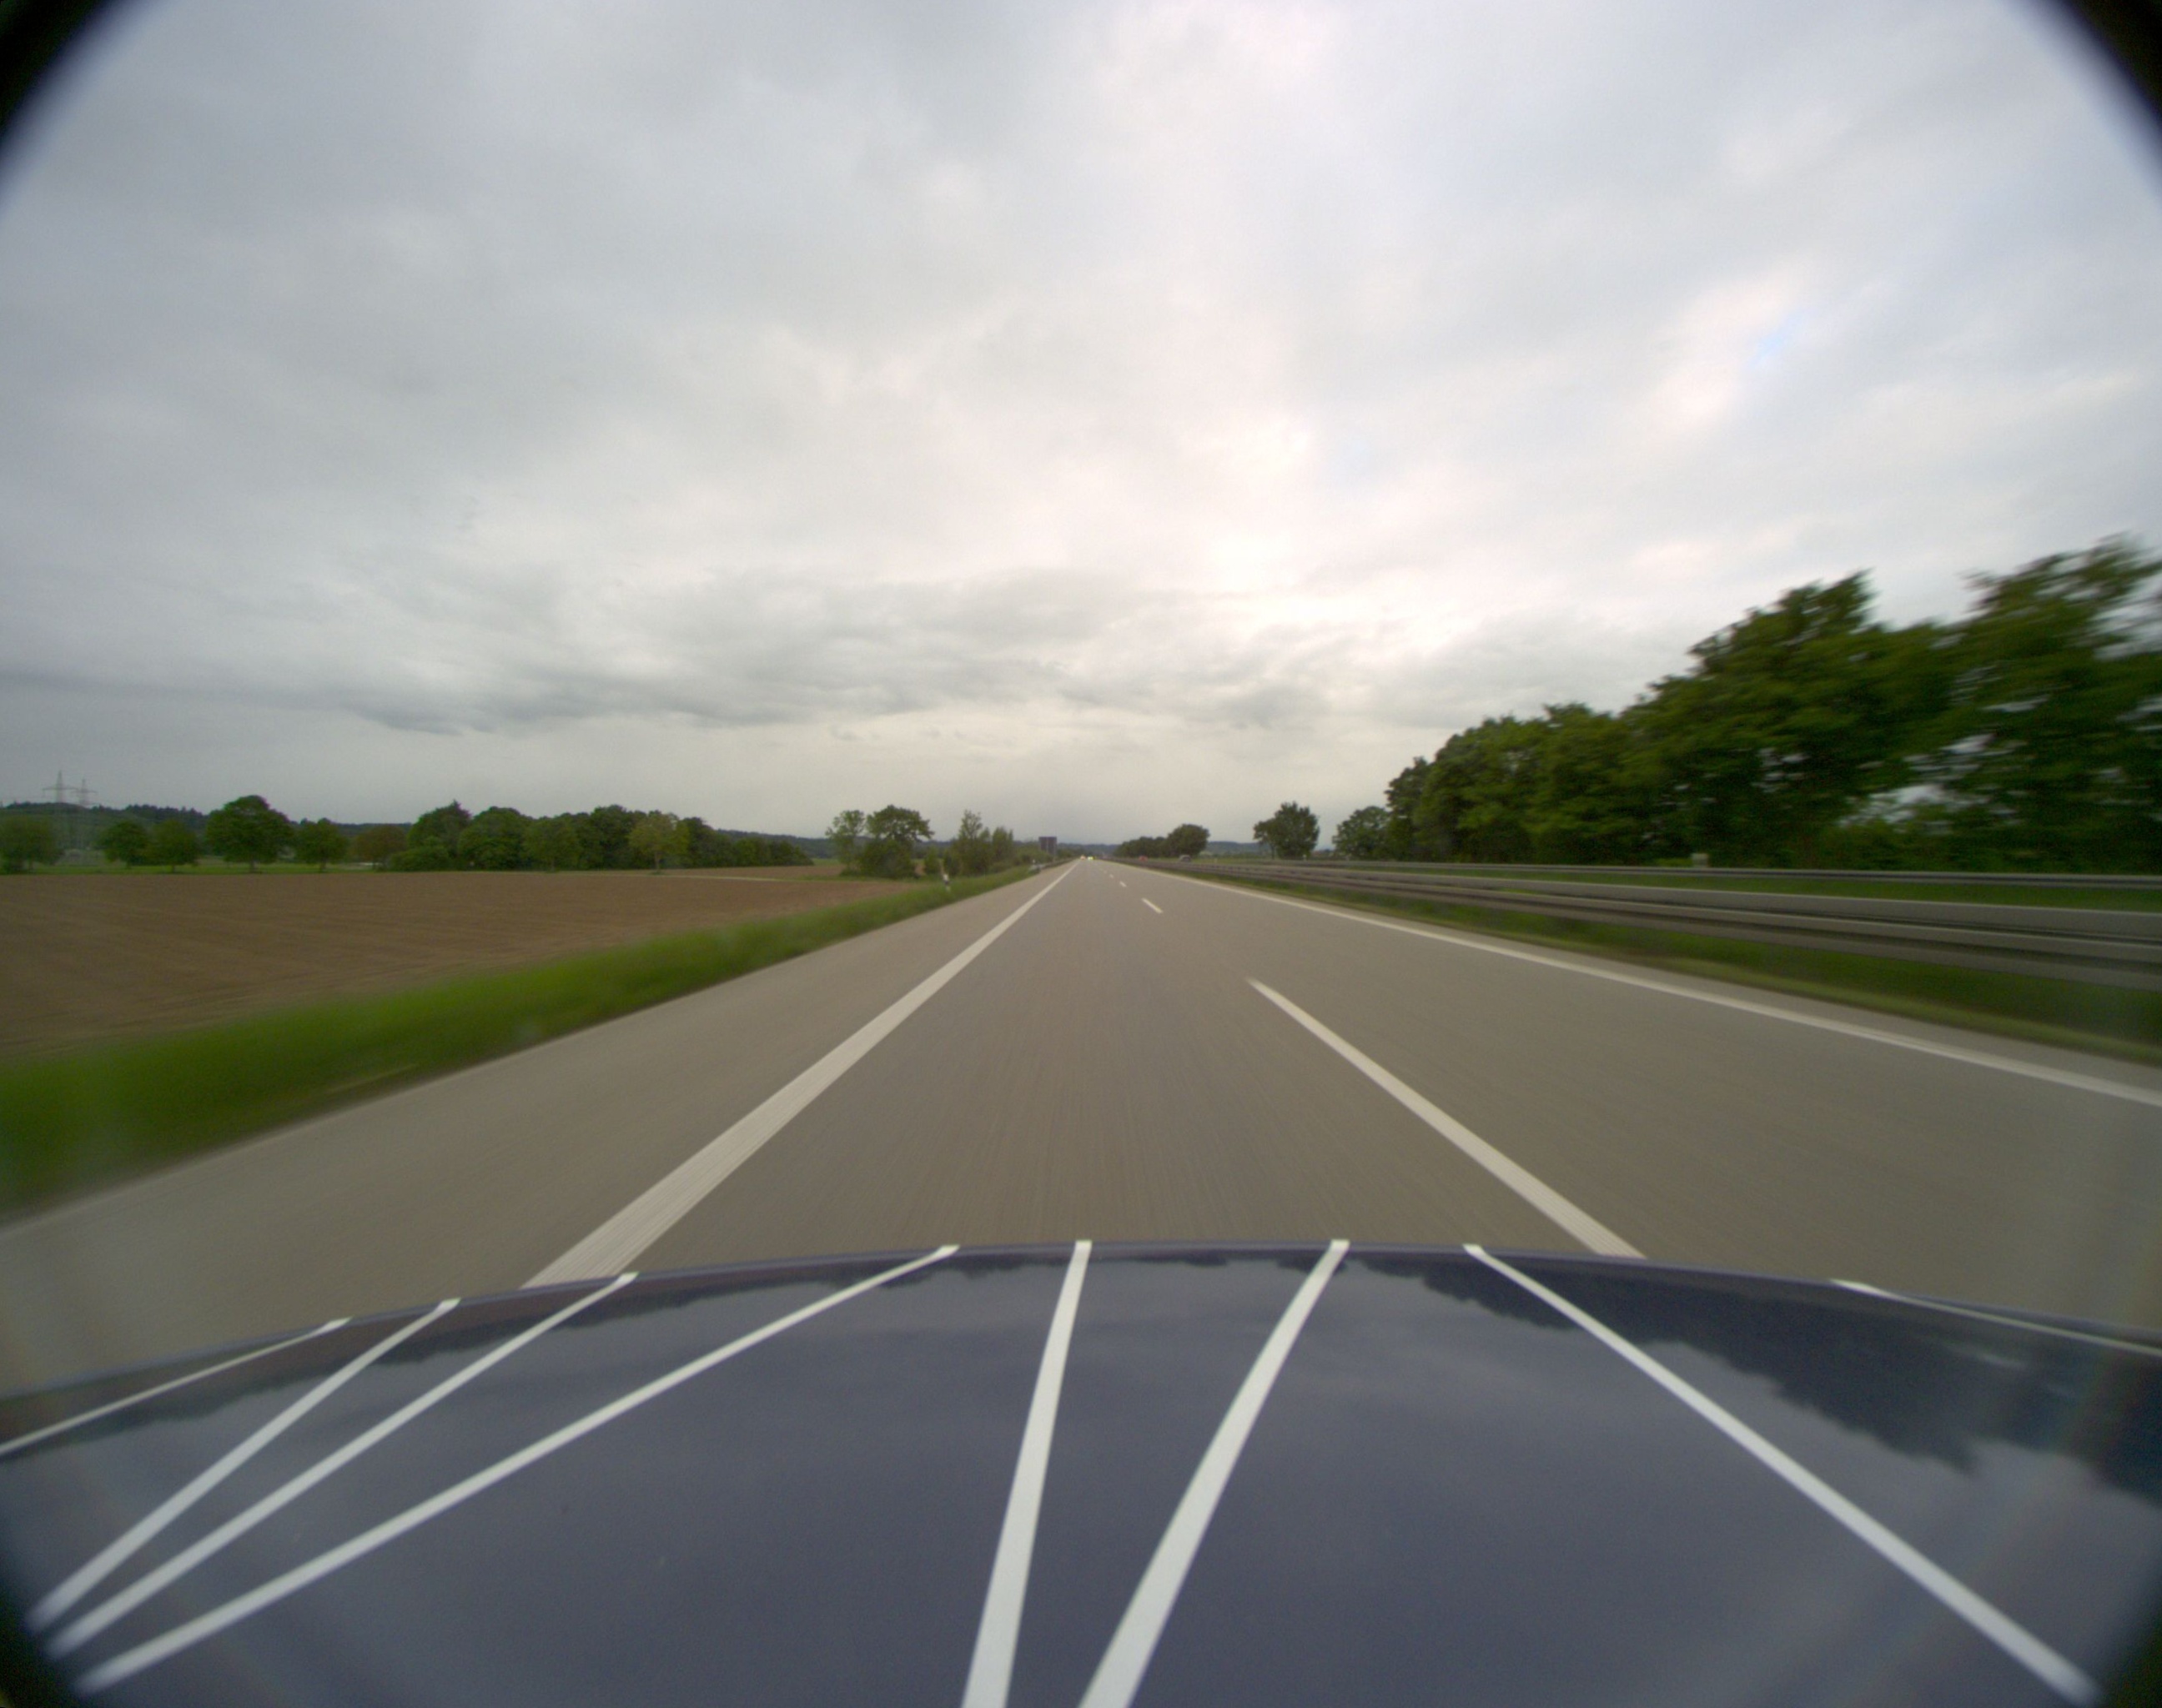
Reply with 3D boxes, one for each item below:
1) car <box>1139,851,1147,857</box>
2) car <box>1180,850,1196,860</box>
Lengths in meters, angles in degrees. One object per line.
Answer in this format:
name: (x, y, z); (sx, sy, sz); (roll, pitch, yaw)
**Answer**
car: (18.200, -0.082, 221.916); (1.822, 1.553, 4.523); (-4, 1, 0)
car: (18.271, 0.239, 129.596); (1.998, 1.573, 4.809); (-3, 0, 1)
